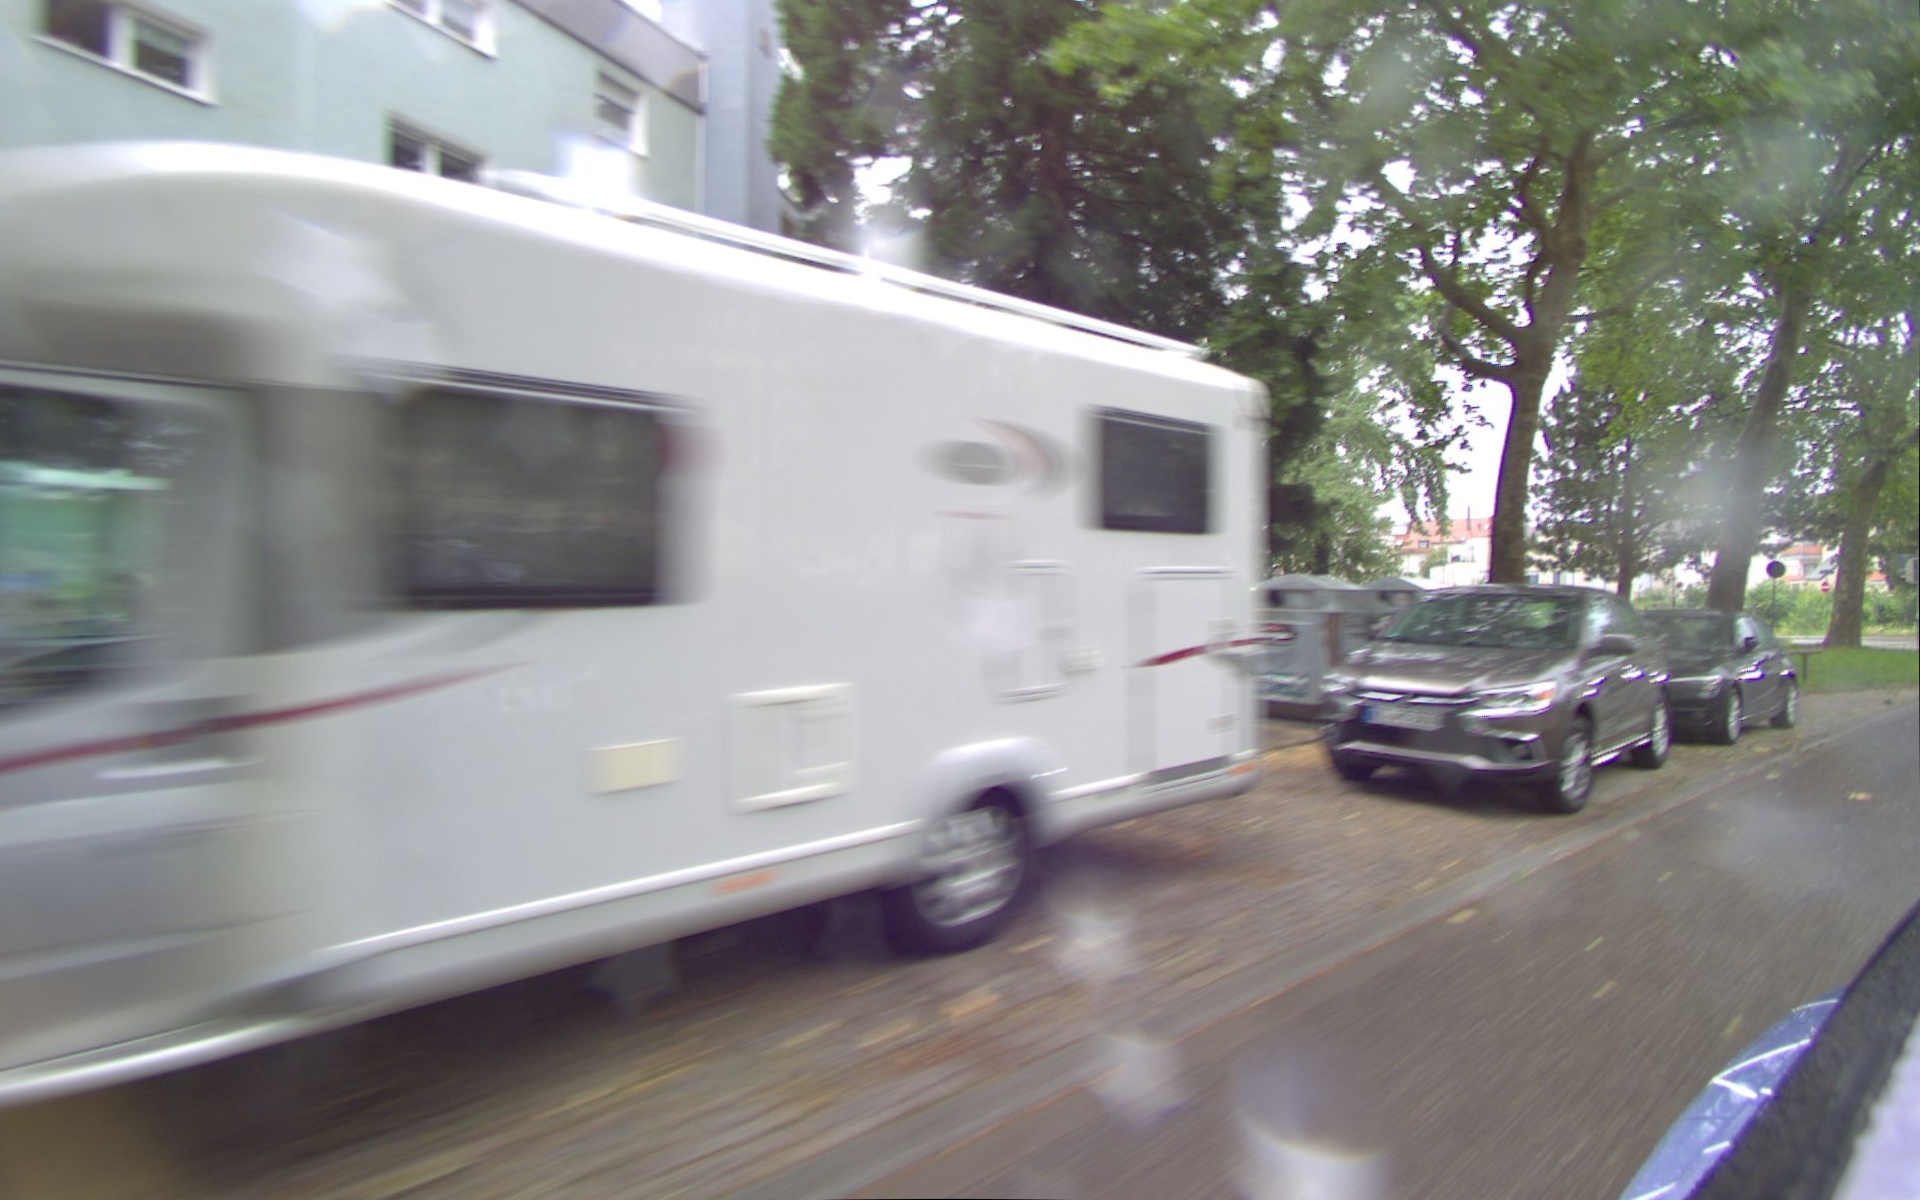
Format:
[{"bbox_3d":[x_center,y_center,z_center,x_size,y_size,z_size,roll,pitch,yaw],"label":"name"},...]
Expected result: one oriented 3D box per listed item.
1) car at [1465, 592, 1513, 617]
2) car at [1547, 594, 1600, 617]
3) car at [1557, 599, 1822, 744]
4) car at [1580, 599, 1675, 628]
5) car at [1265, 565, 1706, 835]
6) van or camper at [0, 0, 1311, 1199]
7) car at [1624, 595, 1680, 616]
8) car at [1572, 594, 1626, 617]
[{"bbox_3d":[44.220,0.430,84.670,1.963,2.039,3.997,0,-1,2],"label":"car"},{"bbox_3d":[50.508,0.486,83.456,1.963,1.884,3.998,0,-1,1],"label":"car"},{"bbox_3d":[8.580,0.716,11.770,4.076,1.408,1.551,1,-1,-40],"label":"car"},{"bbox_3d":[38.787,0.788,58.877,4.226,1.676,1.858,0,-1,3],"label":"car"},{"bbox_3d":[4.517,0.572,8.360,4.380,1.640,1.917,-2,0,-44],"label":"car"},{"bbox_3d":[-1.441,-0.046,4.052,6.743,2.843,2.322,0,-1,-41],"label":"van or camper"},{"bbox_3d":[57.162,0.443,83.659,1.874,1.705,3.997,0,-1,2],"label":"car"},{"bbox_3d":[52.563,0.474,83.323,1.963,1.884,3.998,0,-1,1],"label":"car"}]
